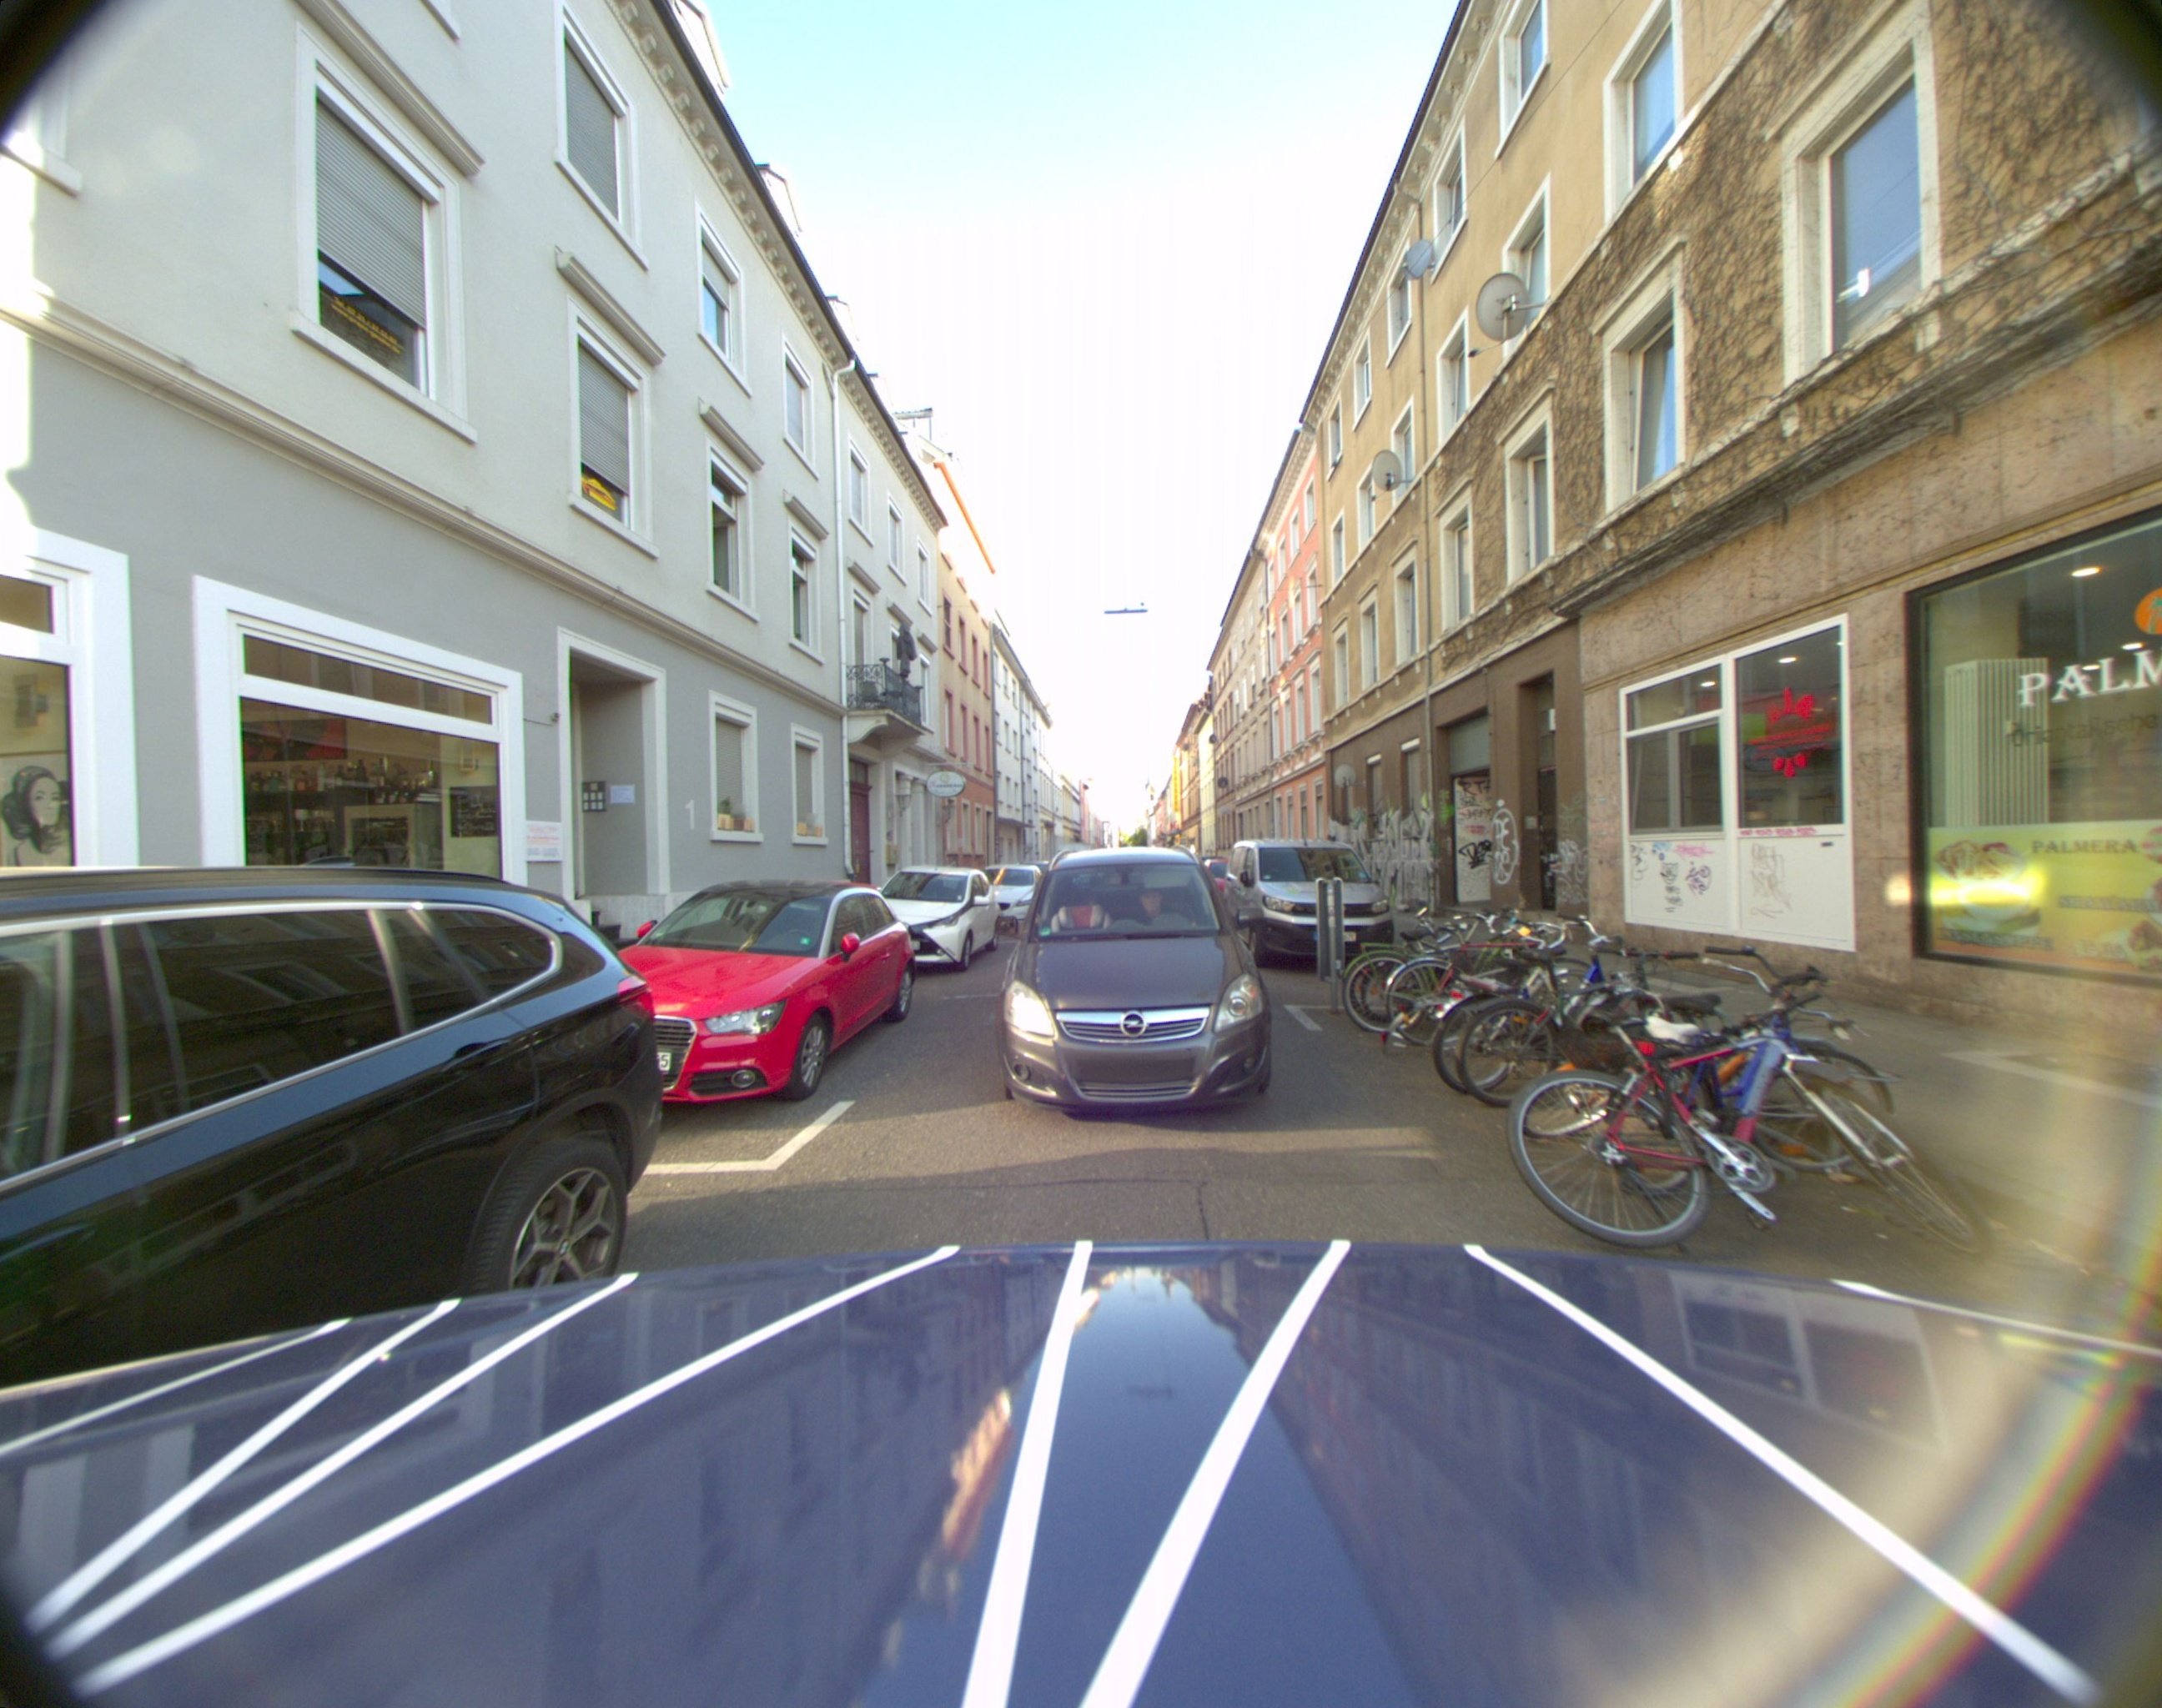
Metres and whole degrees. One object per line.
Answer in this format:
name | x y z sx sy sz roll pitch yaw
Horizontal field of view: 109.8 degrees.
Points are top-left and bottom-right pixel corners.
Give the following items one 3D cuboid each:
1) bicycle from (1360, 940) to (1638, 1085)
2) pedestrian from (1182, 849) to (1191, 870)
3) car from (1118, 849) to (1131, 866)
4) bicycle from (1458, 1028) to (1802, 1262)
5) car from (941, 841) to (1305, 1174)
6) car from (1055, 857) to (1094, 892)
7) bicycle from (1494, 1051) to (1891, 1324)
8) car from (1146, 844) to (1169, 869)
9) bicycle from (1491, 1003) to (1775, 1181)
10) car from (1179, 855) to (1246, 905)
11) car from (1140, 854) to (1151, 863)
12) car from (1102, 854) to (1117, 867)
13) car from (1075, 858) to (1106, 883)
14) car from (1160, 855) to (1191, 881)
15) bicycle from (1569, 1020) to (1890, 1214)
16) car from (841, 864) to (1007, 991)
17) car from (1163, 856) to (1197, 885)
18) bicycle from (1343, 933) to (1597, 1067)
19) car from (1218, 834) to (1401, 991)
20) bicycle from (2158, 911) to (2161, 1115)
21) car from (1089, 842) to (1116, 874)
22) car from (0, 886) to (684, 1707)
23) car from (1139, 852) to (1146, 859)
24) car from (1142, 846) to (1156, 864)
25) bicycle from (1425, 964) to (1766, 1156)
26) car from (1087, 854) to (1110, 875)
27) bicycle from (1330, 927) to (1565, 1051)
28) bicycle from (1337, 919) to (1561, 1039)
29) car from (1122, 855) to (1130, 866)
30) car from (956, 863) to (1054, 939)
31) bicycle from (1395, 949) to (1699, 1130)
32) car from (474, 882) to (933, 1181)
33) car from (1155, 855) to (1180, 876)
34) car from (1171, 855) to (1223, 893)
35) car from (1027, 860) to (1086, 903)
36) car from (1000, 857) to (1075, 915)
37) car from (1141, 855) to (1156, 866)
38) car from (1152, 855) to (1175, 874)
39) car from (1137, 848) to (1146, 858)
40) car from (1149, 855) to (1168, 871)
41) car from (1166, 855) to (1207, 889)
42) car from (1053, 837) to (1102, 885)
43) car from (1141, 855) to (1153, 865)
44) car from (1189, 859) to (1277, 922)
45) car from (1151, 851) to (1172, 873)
bicycle | 3.042 1.153 5.615 1.769 0.956 0.443 -2 0 2
pedestrian | 9.268 0.495 66.869 0.626 1.820 0.595 -3 0 5
car | 9.494 0.761 165.861 2.436 3.404 5.544 -3 0 4
bicycle | 2.393 1.242 3.344 1.312 0.813 0.355 -2 0 -6
car | 0.356 0.809 6.530 1.798 1.652 5.185 -3 0 3
car | -0.266 0.968 37.120 1.683 1.550 3.860 -3 0 1
bicycle | 2.354 1.255 2.960 1.312 0.813 0.371 -2 0 -6
car | 8.087 0.260 80.477 2.093 2.576 5.844 -2 0 3
bicycle | 2.951 1.252 4.093 1.312 0.813 0.381 0 0 -6
car | 4.246 0.809 24.910 1.683 1.540 2.960 0 0 0
car | 10.725 0.782 126.947 1.683 1.381 3.861 -2 0 4
car | 3.713 0.840 97.627 1.683 1.588 3.861 -3 0 4
car | 0.659 1.012 48.939 1.683 1.434 3.861 -3 0 4
car | 5.805 0.842 46.973 1.683 1.454 3.861 -2 0 4
bicycle | 3.224 1.287 3.806 1.391 0.813 0.361 0 0 -6
car | -2.285 1.007 12.075 1.640 1.577 3.789 -3 0 2
car | 5.451 0.873 41.617 1.682 1.454 3.862 -2 0 8
bicycle | 3.061 1.147 6.056 1.769 0.956 0.422 -2 0 2
car | 3.229 0.712 11.654 1.683 1.899 4.520 1 0 4
bicycle | 5.890 0.848 3.246 0.398 1.086 1.591 -1 1 4
car | 2.038 0.362 70.345 2.049 2.662 6.187 -3 0 4
car | -2.629 1.002 1.031 1.764 1.652 4.198 -3 0 2
car | 16.273 0.411 200.555 1.683 1.851 4.160 -3 0 4
car | 9.116 0.168 101.775 1.683 2.352 4.099 -2 0 4
bicycle | 3.017 1.188 4.507 1.770 0.956 0.427 -2 0 -4
car | 1.540 0.888 64.193 1.683 1.625 3.861 -3 0 4
bicycle | 3.091 1.139 6.483 1.769 0.956 0.405 -2 0 2
bicycle | 3.304 1.126 6.905 1.769 0.983 0.463 -2 0 3
car | 9.456 1.319 159.037 1.683 2.077 4.160 -3 0 4
car | -1.727 1.045 18.523 1.683 1.501 4.191 -3 0 3
bicycle | 3.009 1.162 4.941 1.770 0.956 0.481 -2 0 -8
car | -2.549 1.092 6.319 1.649 1.494 3.955 -3 0 2
car | 6.491 0.835 57.449 1.683 1.448 3.861 -2 0 4
car | 4.821 0.797 31.858 1.683 1.483 3.612 -2 0 2
car | -0.850 0.982 29.038 1.771 1.386 4.495 -3 0 3
car | -1.308 0.963 24.552 1.682 1.588 4.192 -3 0 6
car | 8.428 0.802 94.822 1.683 1.381 3.861 -2 0 4
car | 6.732 0.844 62.486 1.683 1.407 3.861 -2 0 4
car | 18.438 -0.242 230.749 2.564 3.029 7.063 -3 0 4
car | 7.569 0.861 74.457 1.683 1.381 3.861 -2 0 4
car | 5.027 0.826 36.644 1.683 1.454 4.314 -2 0 4
car | -0.103 0.386 43.942 2.049 2.498 6.026 -3 0 6
car | 10.141 0.907 116.759 1.683 1.381 3.861 -2 0 4
car | 3.955 0.894 20.353 1.683 1.465 4.204 0 0 3
car | 7.352 0.683 69.180 1.751 1.880 4.773 -2 0 6
